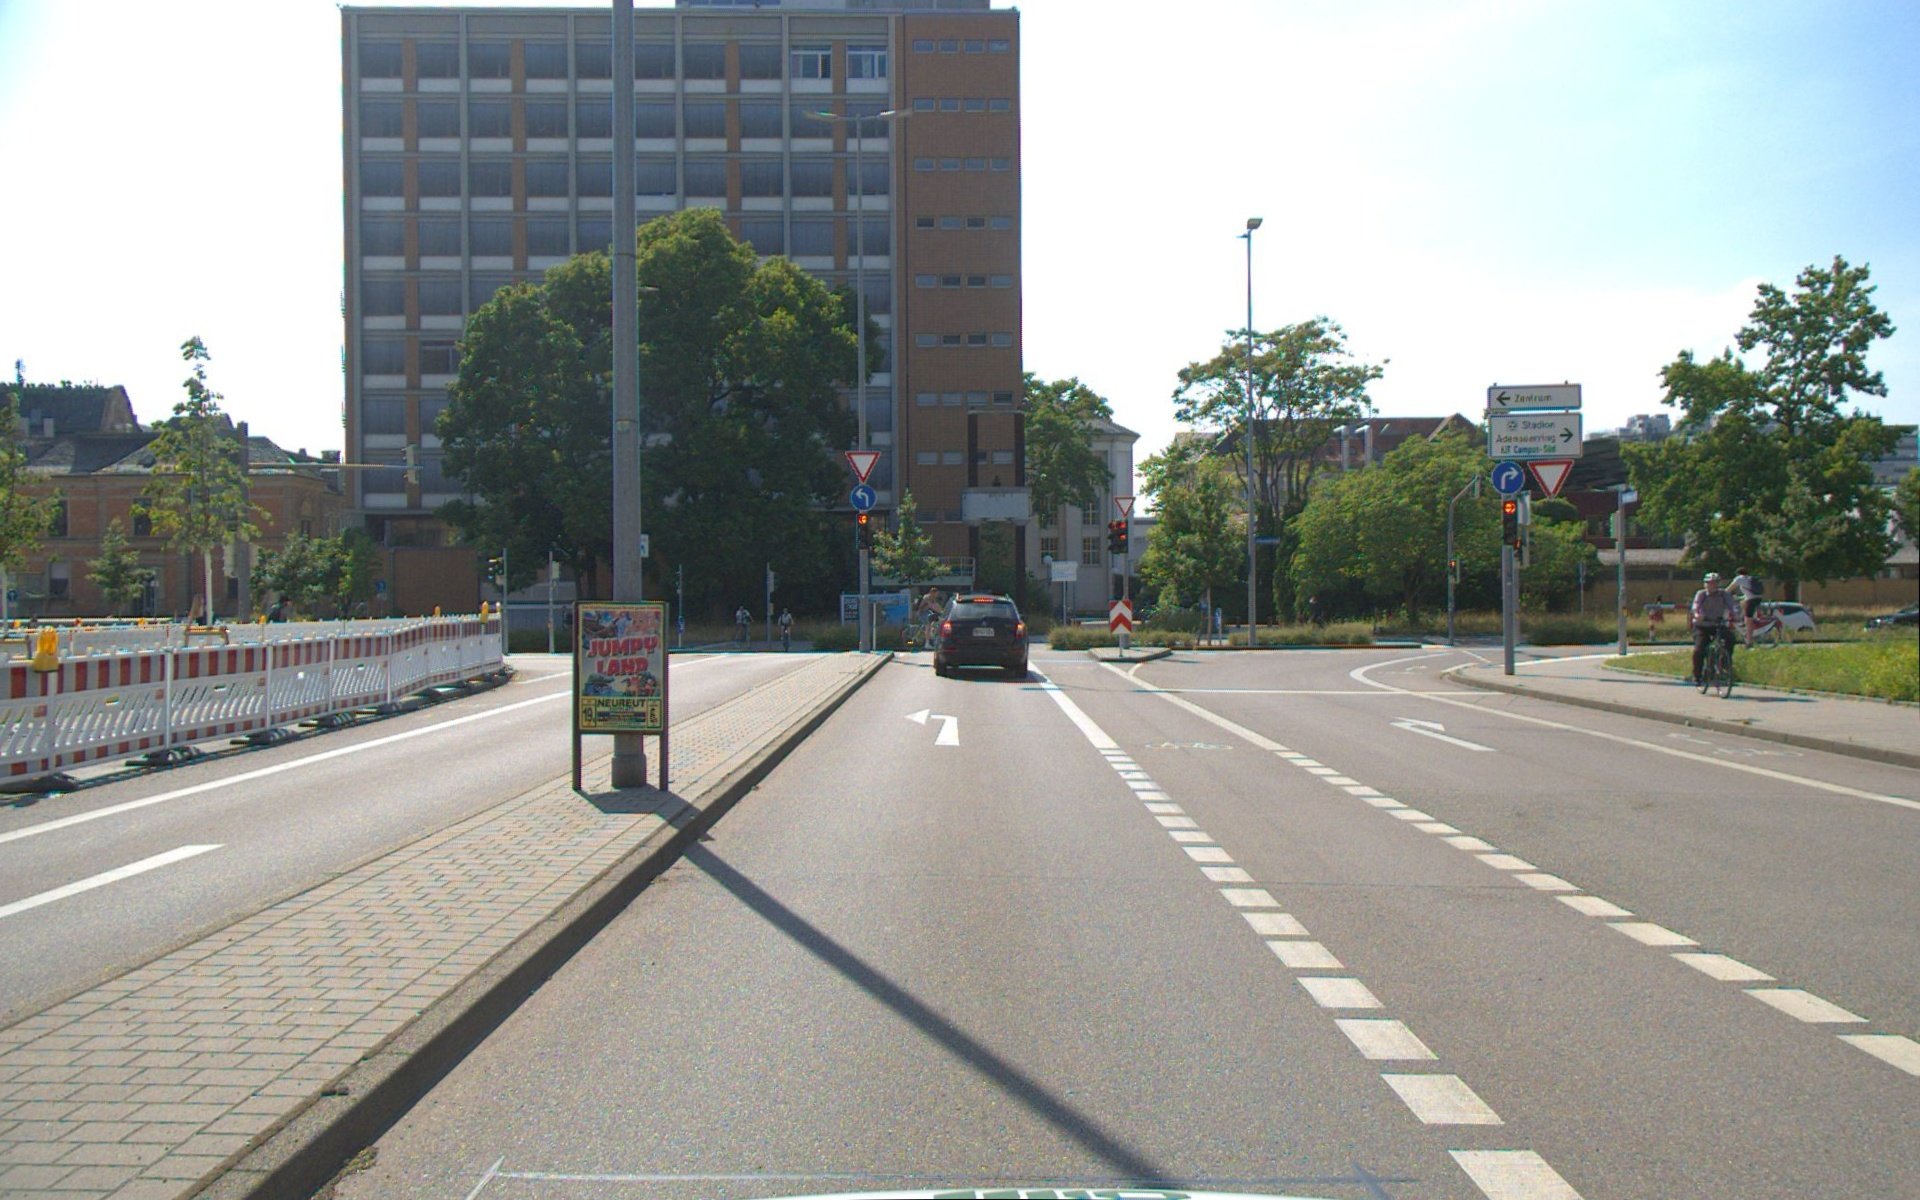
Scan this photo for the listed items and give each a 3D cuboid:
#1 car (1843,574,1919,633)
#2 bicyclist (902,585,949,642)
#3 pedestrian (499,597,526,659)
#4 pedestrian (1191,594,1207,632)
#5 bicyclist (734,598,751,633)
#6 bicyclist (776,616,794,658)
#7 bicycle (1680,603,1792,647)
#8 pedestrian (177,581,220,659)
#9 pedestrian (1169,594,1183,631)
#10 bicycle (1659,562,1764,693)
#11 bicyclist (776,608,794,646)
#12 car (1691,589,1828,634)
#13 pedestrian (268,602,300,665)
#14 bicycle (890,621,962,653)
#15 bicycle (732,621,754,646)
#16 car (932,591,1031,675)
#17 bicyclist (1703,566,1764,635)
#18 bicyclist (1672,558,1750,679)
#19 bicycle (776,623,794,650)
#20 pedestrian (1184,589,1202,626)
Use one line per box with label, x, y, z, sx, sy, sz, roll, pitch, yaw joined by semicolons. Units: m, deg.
car;34.038;0.084;59.051;3.904;2.049;2.001;-1;0;2
bicyclist;-0.921;0.365;44.289;1.140;1.500;0.564;-1;0;12
pedestrian;-14.760;0.922;54.576;0.609;2.049;0.678;2;-1;-37
pedestrian;12.339;0.652;85.391;0.624;1.907;0.796;-2;0;0
bicyclist;-9.110;0.669;69.304;0.528;1.441;1.030;-2;-1;-2
bicyclist;-6.948;1.451;65.846;0.606;1.609;1.013;-3;0;-5
bicycle;17.093;0.554;36.455;0.669;0.932;2.135;-1;0;-42
pedestrian;-17.871;0.472;38.839;0.724;1.783;1.106;-1;-2;-16
pedestrian;11.297;0.675;86.482;0.584;1.907;0.638;1;-1;23
bicycle;10.777;0.376;23.785;0.664;1.796;1.811;-1;0;0
bicyclist;-6.946;1.077;65.578;0.606;1.468;0.920;-3;0;-5
car;28.427;0.425;58.891;3.905;1.490;2.000;-1;-1;-1
pedestrian;-16.598;0.820;40.623;0.620;1.518;0.614;-1;0;-16
bicycle;-0.914;0.988;44.294;1.849;0.806;0.561;-1;1;13
bicycle;-9.098;1.414;69.444;0.690;0.994;2.030;-1;0;-2
car;0.397;0.582;31.206;1.743;1.468;3.818;1;0;0
bicyclist;17.037;0.017;36.443;0.492;1.496;1.125;2;-2;-43
bicyclist;10.778;0.256;23.754;0.664;1.684;0.919;-1;0;0
bicycle;-6.928;1.451;65.595;0.606;0.977;1.966;-3;0;-5
pedestrian;12.154;0.374;86.289;0.777;1.907;0.639;-2;0;17
